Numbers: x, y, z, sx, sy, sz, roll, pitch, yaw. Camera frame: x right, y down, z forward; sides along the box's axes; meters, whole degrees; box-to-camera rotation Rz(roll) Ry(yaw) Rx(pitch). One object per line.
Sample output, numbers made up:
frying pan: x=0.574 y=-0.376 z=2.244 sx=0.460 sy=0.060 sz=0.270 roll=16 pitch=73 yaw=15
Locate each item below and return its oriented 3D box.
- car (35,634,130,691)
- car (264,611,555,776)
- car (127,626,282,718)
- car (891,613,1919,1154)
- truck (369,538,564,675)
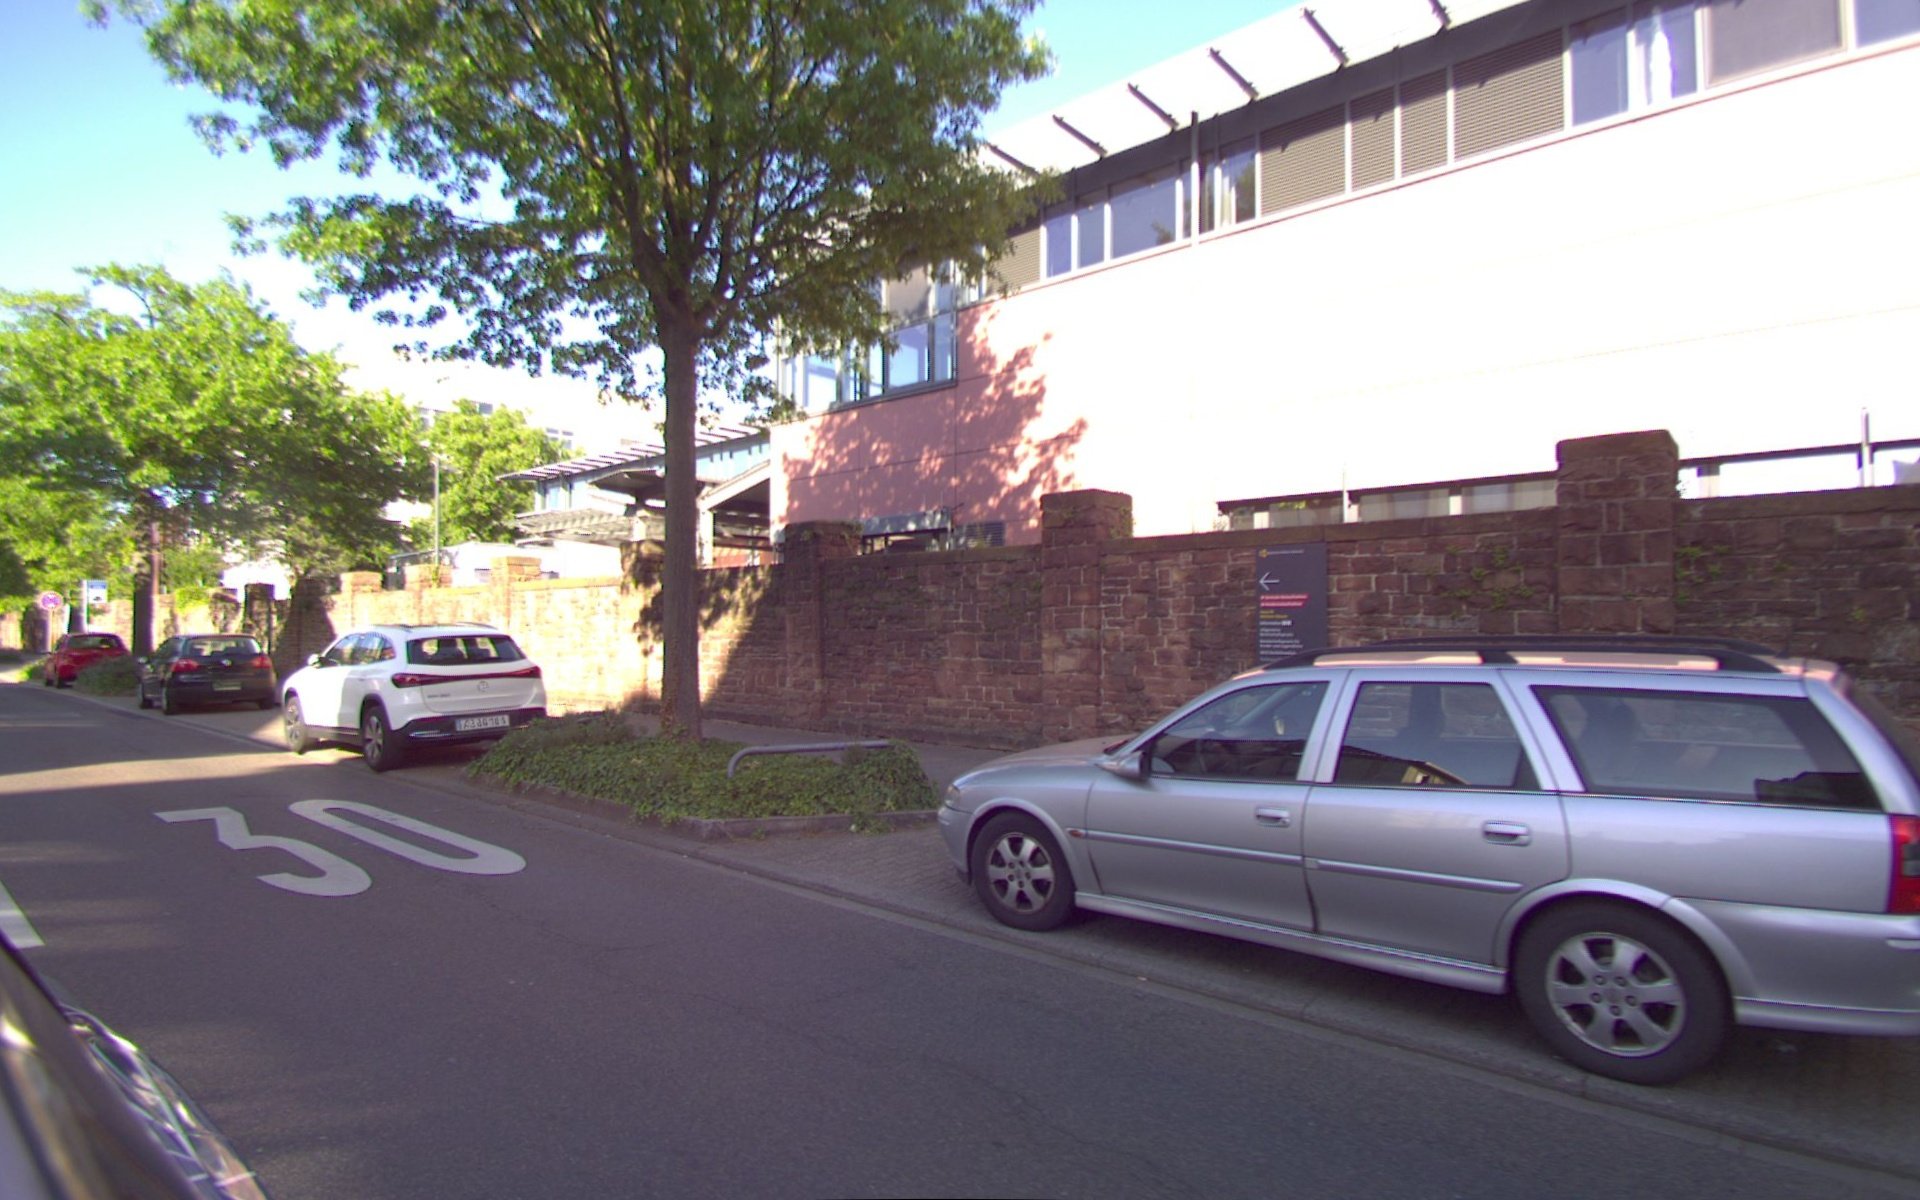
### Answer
car: x=-24.872 y=1.722 z=28.645 sx=3.707 sy=1.470 sz=1.592 roll=-2 pitch=-1 yaw=42
car: x=-6.905 y=1.033 z=12.497 sx=4.347 sy=1.696 sz=1.702 roll=-2 pitch=-2 yaw=40
car: x=-14.793 y=1.334 z=19.741 sx=4.106 sy=1.604 sz=1.718 roll=-2 pitch=-2 yaw=43
car: x=1.870 y=0.854 z=4.721 sx=4.476 sy=1.487 sz=1.708 roll=-2 pitch=-1 yaw=41
truck: x=-15.308 y=0.249 z=31.078 sx=7.425 sy=3.739 sz=2.704 roll=-2 pitch=-1 yaw=41
